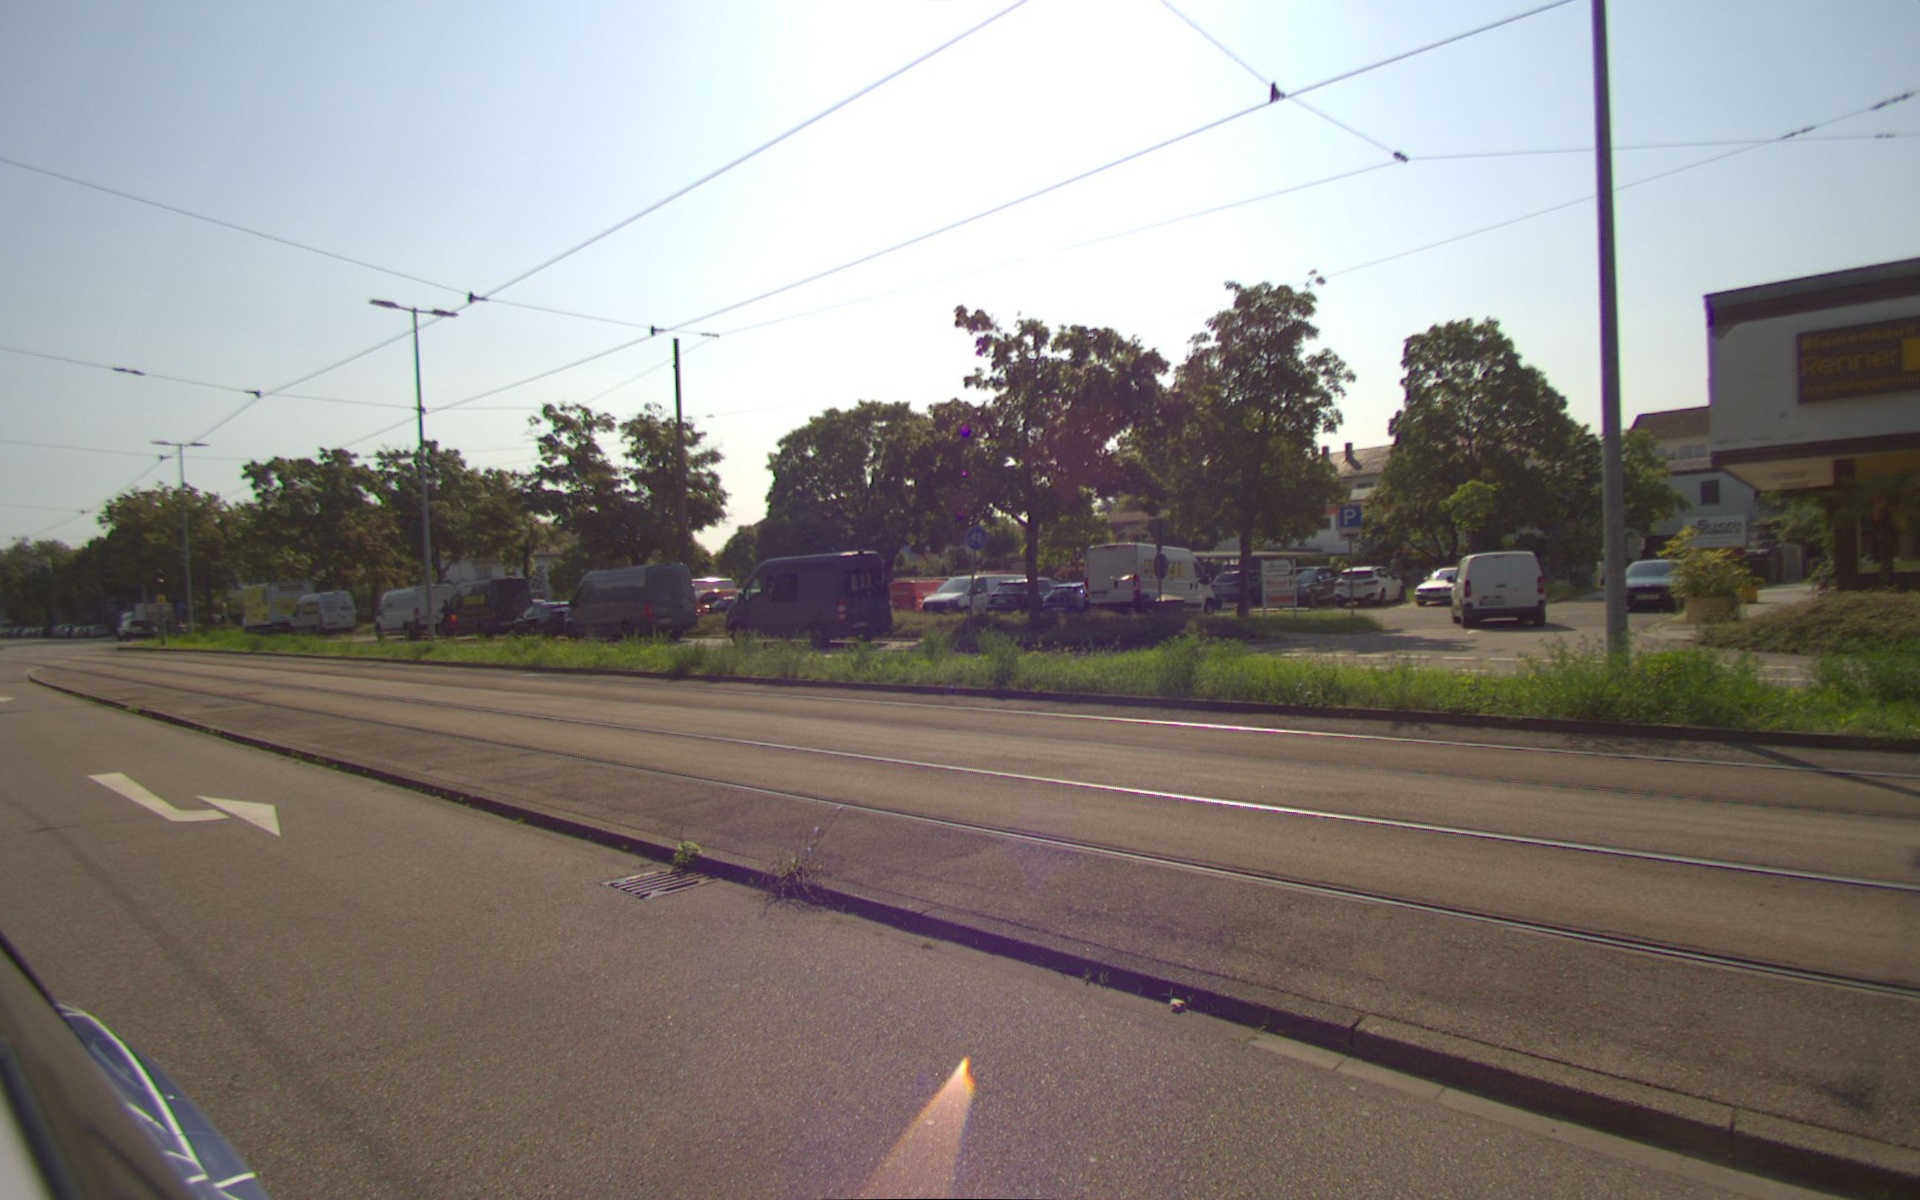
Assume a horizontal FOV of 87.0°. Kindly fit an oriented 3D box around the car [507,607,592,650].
[{"bbox_3d":[-16.500,1.129,40.570,3.835,1.563,1.725,-2,1,45],"label":"car"}]

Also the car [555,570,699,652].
[{"bbox_3d":[-11.989,0.422,36.115,6.468,2.605,1.967,-2,2,44],"label":"car"}]

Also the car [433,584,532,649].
[{"bbox_3d":[-21.080,0.748,44.499,5.910,2.605,1.802,-2,1,44],"label":"car"}]

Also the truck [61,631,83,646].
[{"bbox_3d":[-111.705,4.830,127.275,3.655,1.687,1.669,-2,-1,43],"label":"truck"}]

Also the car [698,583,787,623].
[{"bbox_3d":[-10.671,0.137,49.770,1.857,1.852,3.944,-2,-1,42],"label":"car"}]

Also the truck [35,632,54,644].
[{"bbox_3d":[-126.902,5.256,140.242,3.655,1.687,1.669,-2,-1,43],"label":"truck"}]

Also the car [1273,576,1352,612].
[{"bbox_3d":[14.897,-0.263,42.683,3.660,1.353,1.493,-3,0,-40],"label":"car"}]

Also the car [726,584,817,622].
[{"bbox_3d":[-8.872,0.150,47.865,1.745,1.707,3.944,-2,-1,42],"label":"car"}]

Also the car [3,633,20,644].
[{"bbox_3d":[-145.370,5.959,155.069,3.454,1.596,1.530,-2,-1,42],"label":"car"}]

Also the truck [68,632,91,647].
[{"bbox_3d":[-106.136,4.729,122.003,3.655,1.687,1.669,-2,-1,43],"label":"truck"}]

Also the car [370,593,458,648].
[{"bbox_3d":[-27.064,1.016,50.043,5.630,2.606,2.109,-2,-1,43],"label":"car"}]

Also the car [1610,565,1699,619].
[{"bbox_3d":[19.678,-0.260,28.628,1.613,1.353,3.872,-2,0,41],"label":"car"}]

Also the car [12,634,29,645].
[{"bbox_3d":[-140.520,5.860,151.333,3.454,1.596,1.530,-2,-1,42],"label":"car"}]

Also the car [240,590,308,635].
[{"bbox_3d":[-44.862,0.854,66.062,7.231,2.826,2.101,-2,-1,43],"label":"car"}]

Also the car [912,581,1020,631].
[{"bbox_3d":[0.287,0.217,38.515,1.632,1.798,4.353,-2,-1,41],"label":"car"}]

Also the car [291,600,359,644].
[{"bbox_3d":[-37.535,1.280,59.763,4.830,2.477,2.120,-2,-1,41],"label":"car"}]

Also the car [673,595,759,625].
[{"bbox_3d":[-12.440,0.493,51.753,1.857,1.462,3.944,-2,-1,42],"label":"car"}]

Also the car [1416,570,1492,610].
[{"bbox_3d":[19.037,-0.393,38.920,3.490,1.353,1.492,-3,0,-44],"label":"car"}]

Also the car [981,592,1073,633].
[{"bbox_3d":[2.483,0.441,36.914,1.632,1.437,3.369,-2,-1,41],"label":"car"}]

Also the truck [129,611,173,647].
[{"bbox_3d":[-76.440,2.734,95.553,2.247,3.145,8.791,-1,-1,-45],"label":"truck"}]

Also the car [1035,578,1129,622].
[{"bbox_3d":[4.268,-0.013,35.210,1.632,1.437,3.369,-2,-1,41],"label":"car"}]

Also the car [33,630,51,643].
[{"bbox_3d":[-131.289,5.175,144.754,3.644,1.782,1.530,-2,-1,42],"label":"car"}]

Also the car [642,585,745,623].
[{"bbox_3d":[-14.255,0.187,54.366,2.052,1.940,5.131,-2,-1,41],"label":"car"}]

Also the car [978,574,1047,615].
[{"bbox_3d":[2.962,-0.346,56.569,1.802,2.113,3.947,-2,1,40],"label":"car"}]

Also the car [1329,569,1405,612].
[{"bbox_3d":[16.501,-0.400,40.965,1.875,1.513,3.413,-2,2,40],"label":"car"}]

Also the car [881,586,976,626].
[{"bbox_3d":[-1.220,0.235,40.839,1.632,1.530,3.882,-2,-1,41],"label":"car"}]

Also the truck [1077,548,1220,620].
[{"bbox_3d":[6.376,-0.508,33.763,2.258,2.189,5.433,-2,-1,41],"label":"truck"}]

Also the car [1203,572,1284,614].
[{"bbox_3d":[12.667,-0.312,45.121,3.757,1.782,1.760,-1,-1,-43],"label":"car"}]

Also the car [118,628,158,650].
[{"bbox_3d":[-61.535,2.921,75.768,3.951,1.531,1.903,-2,-1,45],"label":"car"}]

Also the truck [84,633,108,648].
[{"bbox_3d":[-98.801,4.630,115.722,3.655,1.687,1.669,-2,-1,43],"label":"truck"}]

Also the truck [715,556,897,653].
[{"bbox_3d":[-4.589,0.184,29.496,5.737,2.567,2.059,-2,-1,42],"label":"truck"}]

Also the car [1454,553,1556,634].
[{"bbox_3d":[13.652,-0.185,25.589,1.979,1.771,4.381,-3,0,26],"label":"car"}]
